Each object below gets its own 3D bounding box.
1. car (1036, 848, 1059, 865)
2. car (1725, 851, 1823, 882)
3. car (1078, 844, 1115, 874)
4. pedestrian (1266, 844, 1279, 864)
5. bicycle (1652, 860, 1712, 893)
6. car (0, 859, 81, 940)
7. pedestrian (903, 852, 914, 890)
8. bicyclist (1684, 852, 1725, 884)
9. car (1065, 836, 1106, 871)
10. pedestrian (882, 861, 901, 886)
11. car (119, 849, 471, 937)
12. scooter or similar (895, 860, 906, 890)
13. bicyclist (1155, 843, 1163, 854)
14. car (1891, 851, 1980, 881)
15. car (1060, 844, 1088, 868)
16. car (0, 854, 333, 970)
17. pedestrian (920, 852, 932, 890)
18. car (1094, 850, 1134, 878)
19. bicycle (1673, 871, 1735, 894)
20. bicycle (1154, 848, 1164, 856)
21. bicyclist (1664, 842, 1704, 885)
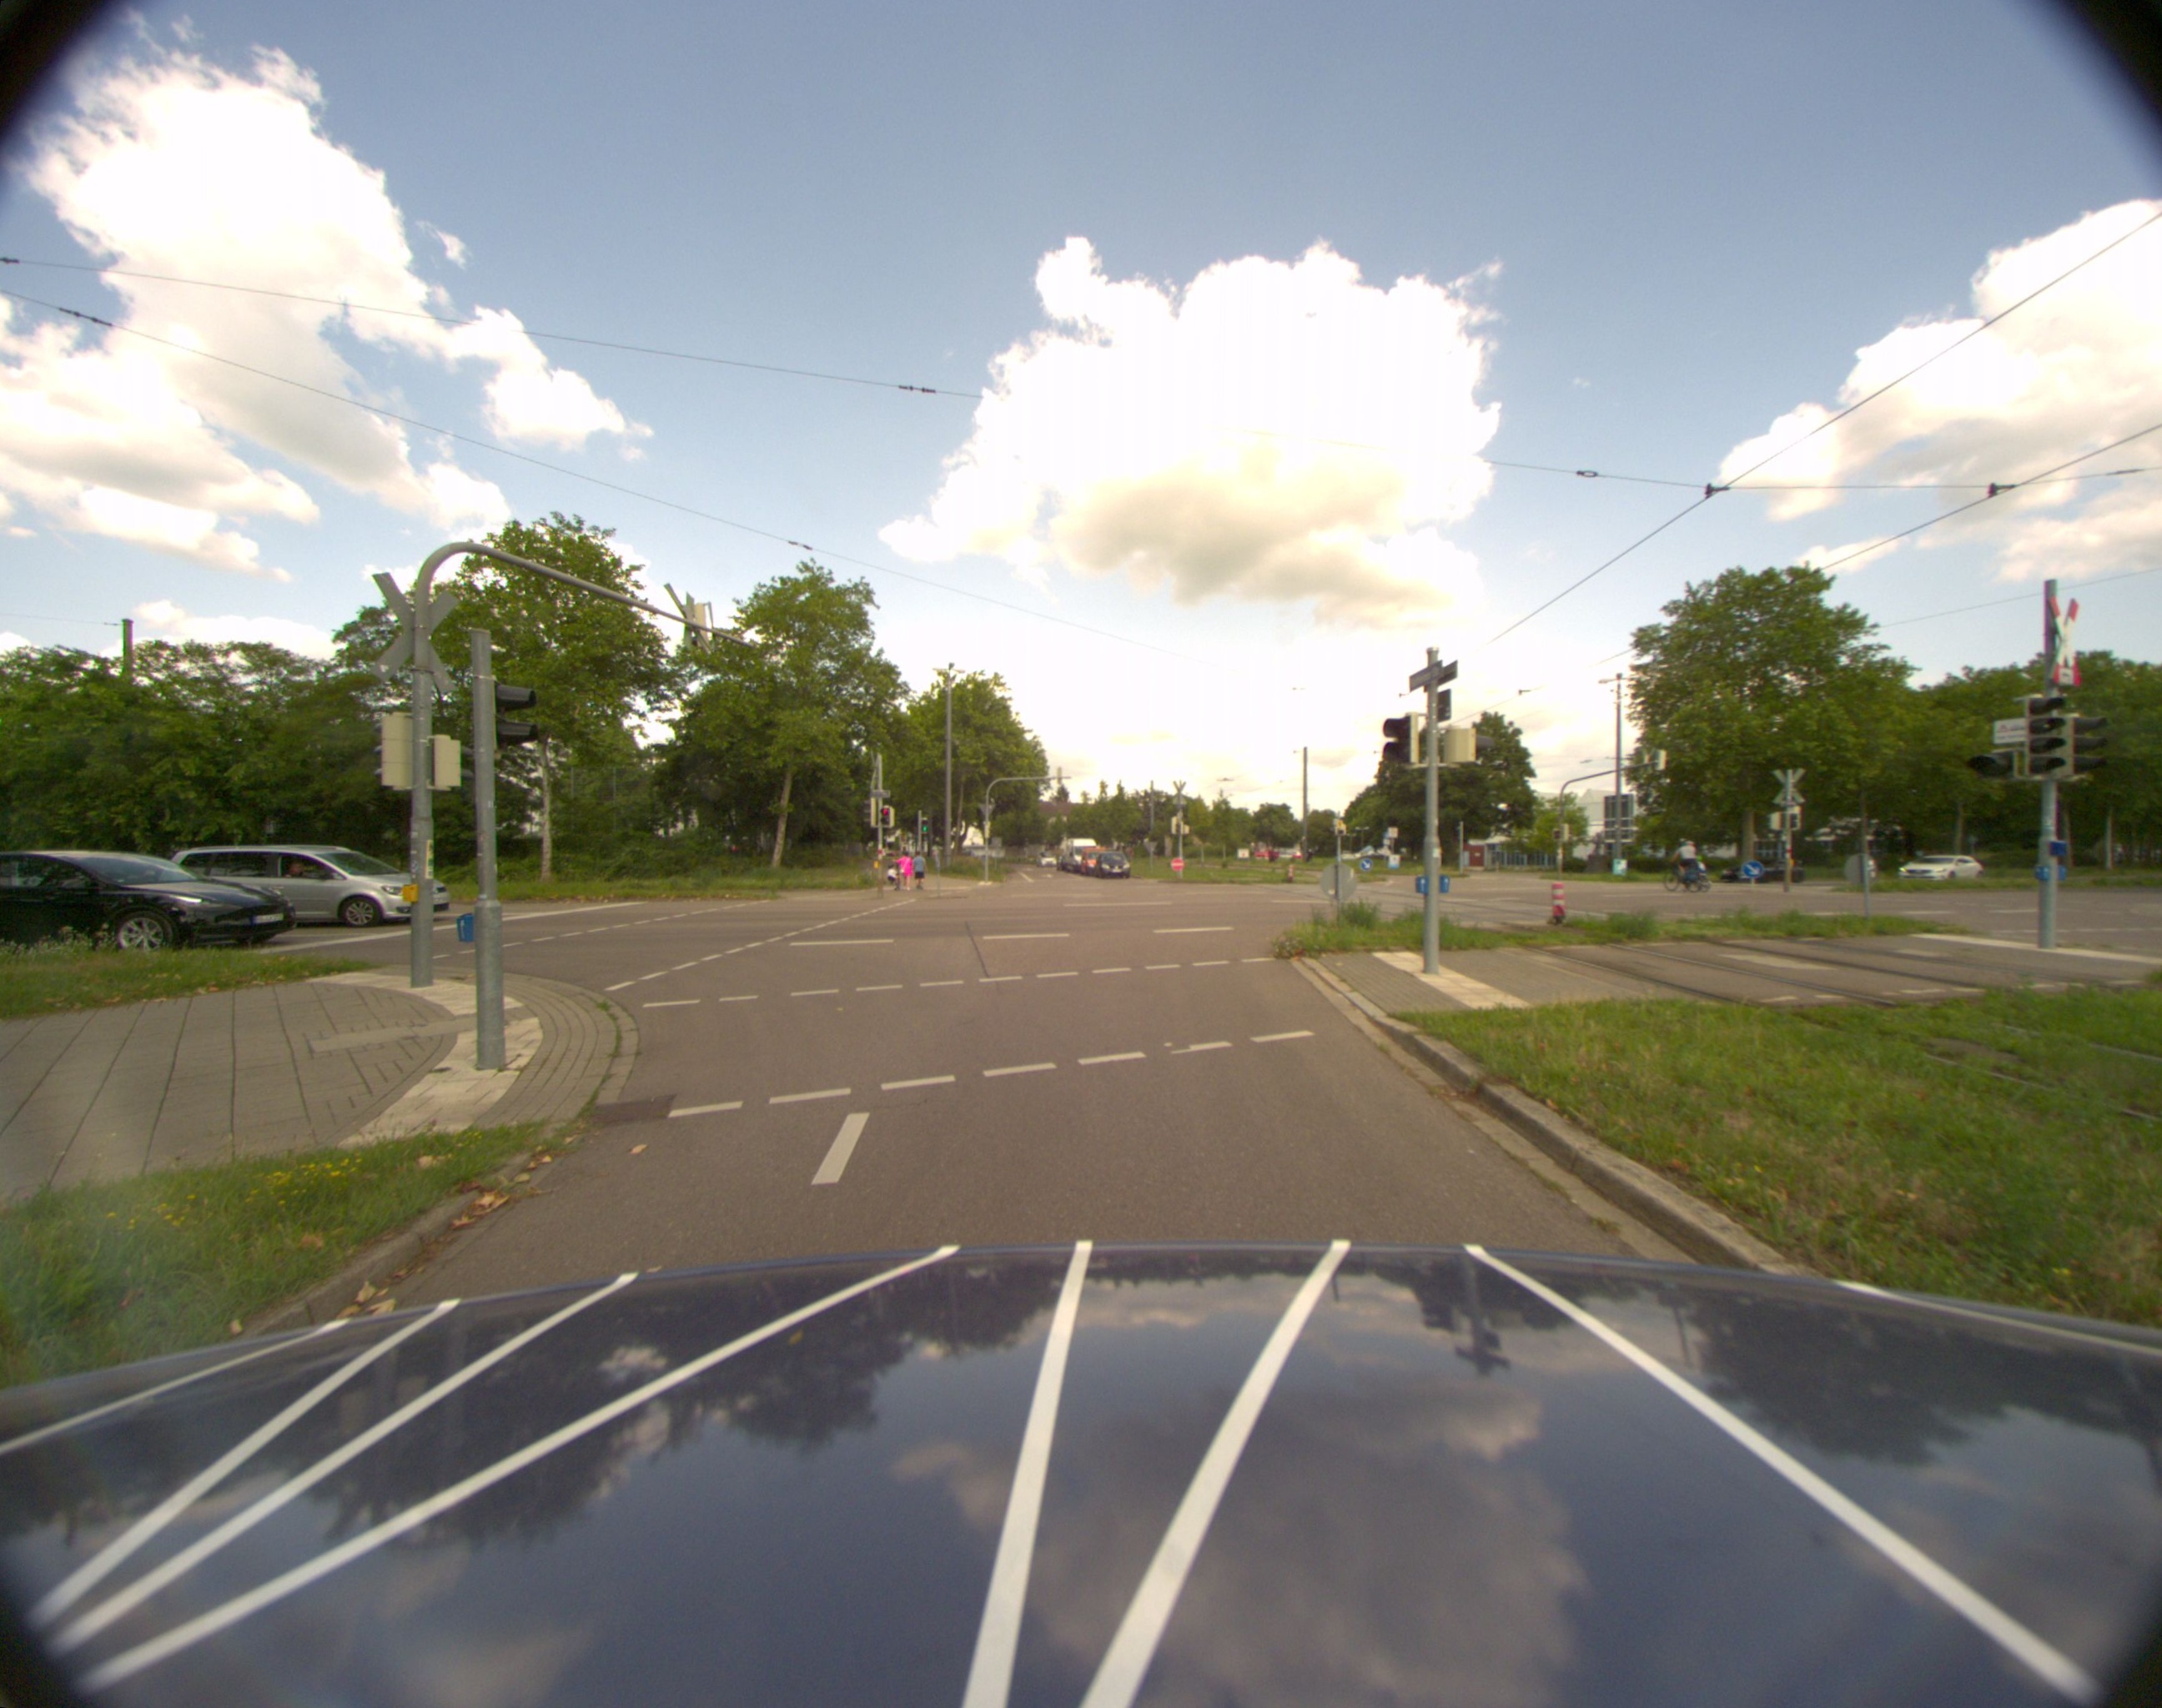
[{"bbox_3d":[-3.428,0.245,76.637,1.868,1.635,4.230,-1,1,-8],"label":"car"},{"bbox_3d":[35.635,0.642,39.103,3.857,1.515,1.697,0,1,-10],"label":"car"},{"bbox_3d":[0.993,0.320,51.216,1.796,1.924,4.365,-1,1,-7],"label":"car"},{"bbox_3d":[18.440,-0.010,73.180,0.908,1.857,1.001,0,1,-11],"label":"pedestrian"},{"bbox_3d":[20.959,0.754,26.530,0.647,1.073,1.804,0,1,1],"label":"bicycle"},{"bbox_3d":[-22.518,0.871,14.066,4.750,1.461,1.998,0,2,-9],"label":"car"},{"bbox_3d":[-6.942,0.684,30.582,0.419,1.499,0.392,0,1,-10],"label":"pedestrian"},{"bbox_3d":[21.715,0.482,26.479,0.641,1.106,0.928,0,1,-1],"label":"bicyclist"},{"bbox_3d":[0.296,-0.039,57.716,2.240,2.492,5.721,-1,1,-8],"label":"car"},{"bbox_3d":[-8.255,0.840,33.133,0.723,1.028,0.901,0,1,-8],"label":"pedestrian"},{"bbox_3d":[-15.730,0.715,15.507,4.687,1.601,1.998,0,2,-9],"label":"car"},{"bbox_3d":[-7.171,0.836,30.179,0.395,1.154,1.115,0,1,-12],"label":"scooter or similar"},{"bbox_3d":[10.752,-0.741,105.139,0.805,1.461,0.831,-1,-1,-15],"label":"bicyclist"},{"bbox_3d":[44.499,0.598,39.561,3.914,1.515,1.696,0,1,-20],"label":"car"},{"bbox_3d":[-0.608,0.115,63.379,1.796,1.924,4.365,-1,1,-8],"label":"car"},{"bbox_3d":[-15.190,0.826,11.854,4.687,1.601,1.998,0,2,-8],"label":"car"},{"bbox_3d":[-6.241,0.684,30.594,0.419,1.499,0.451,0,1,-10],"label":"pedestrian"},{"bbox_3d":[1.914,0.539,45.192,1.796,1.530,3.997,-1,1,-7],"label":"car"},{"bbox_3d":[21.714,0.972,26.517,0.647,0.713,1.804,0,1,-1],"label":"bicycle"},{"bbox_3d":[10.765,-0.283,105.056,0.805,1.053,2.067,-1,-1,-14],"label":"bicycle"},{"bbox_3d":[20.966,0.317,26.447,0.624,1.449,0.928,0,1,0],"label":"bicyclist"}]
